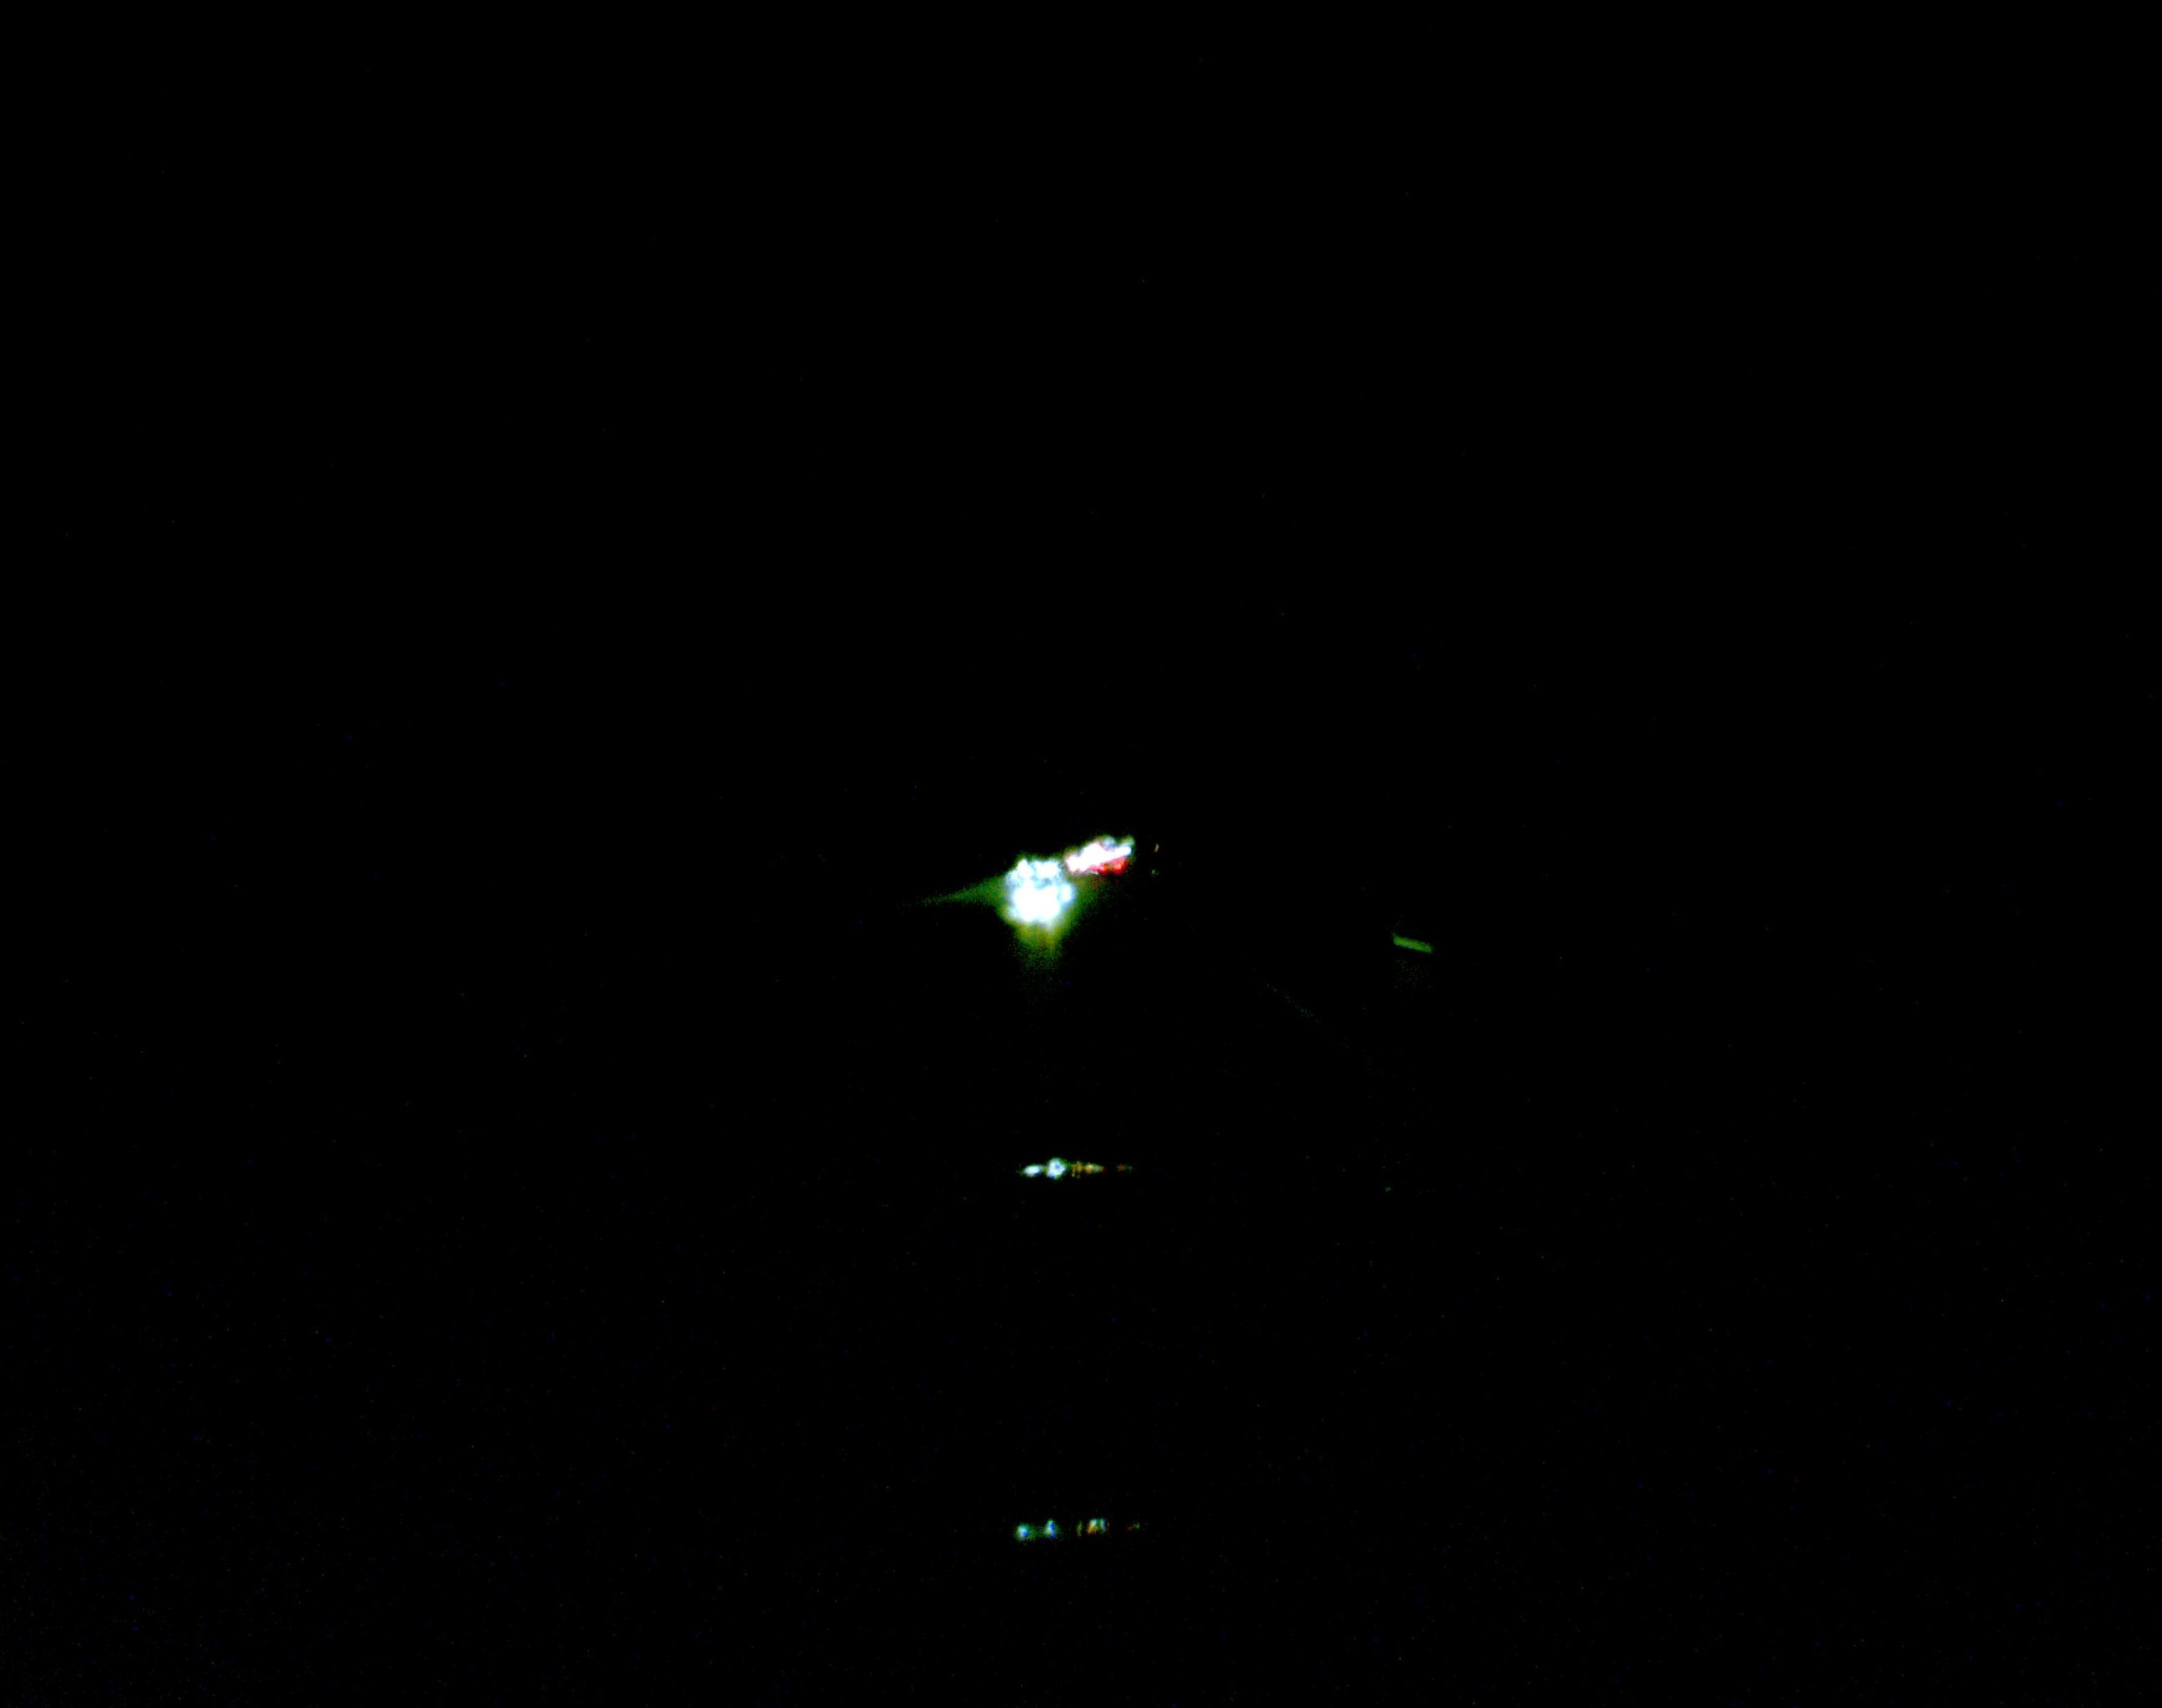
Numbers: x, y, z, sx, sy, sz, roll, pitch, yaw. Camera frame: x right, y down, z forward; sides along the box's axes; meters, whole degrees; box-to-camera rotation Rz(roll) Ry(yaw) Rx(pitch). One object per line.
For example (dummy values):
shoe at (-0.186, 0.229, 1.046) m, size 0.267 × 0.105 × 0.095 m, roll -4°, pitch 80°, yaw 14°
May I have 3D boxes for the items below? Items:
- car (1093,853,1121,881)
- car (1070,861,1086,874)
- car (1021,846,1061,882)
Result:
car at (1.802, 0.875, 57.015) m, size 1.836 × 1.740 × 4.000 m, roll 1°, pitch 1°, yaw 0°
car at (-0.357, 1.759, 105.988) m, size 1.986 × 1.549 × 4.002 m, roll 0°, pitch 0°, yaw 2°
car at (-2.296, 0.573, 47.594) m, size 1.986 × 2.014 × 4.002 m, roll 0°, pitch -1°, yaw 2°
